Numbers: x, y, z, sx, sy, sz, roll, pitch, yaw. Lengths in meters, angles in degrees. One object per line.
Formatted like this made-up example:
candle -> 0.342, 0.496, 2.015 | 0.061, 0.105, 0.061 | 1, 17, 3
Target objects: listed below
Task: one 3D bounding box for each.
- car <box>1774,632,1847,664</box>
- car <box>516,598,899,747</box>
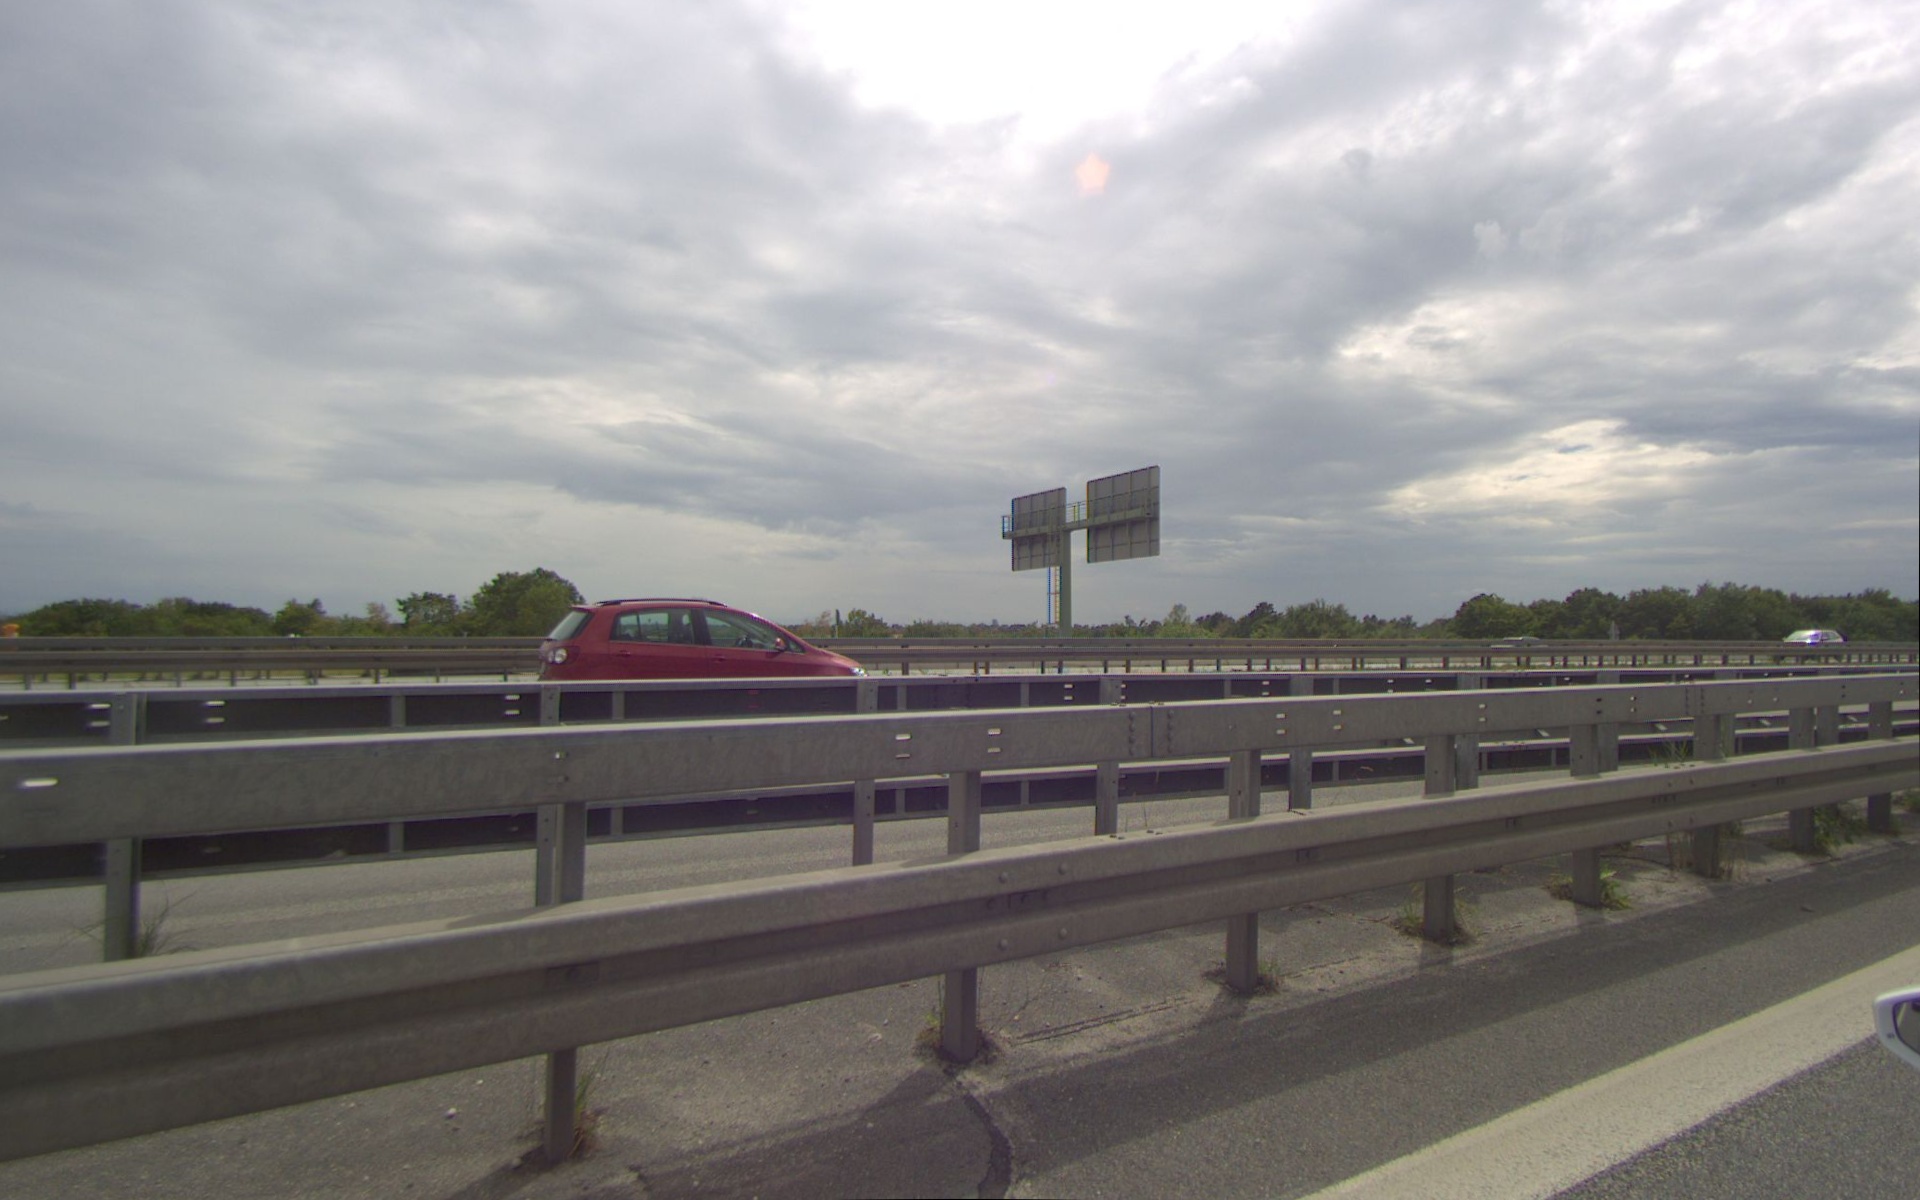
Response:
car -> 49.376, 2.755, 58.291 | 4.460, 1.644, 1.737 | 0, 0, -28
car -> -3.066, 0.754, 12.410 | 4.302, 1.566, 1.811 | 0, 0, -29
